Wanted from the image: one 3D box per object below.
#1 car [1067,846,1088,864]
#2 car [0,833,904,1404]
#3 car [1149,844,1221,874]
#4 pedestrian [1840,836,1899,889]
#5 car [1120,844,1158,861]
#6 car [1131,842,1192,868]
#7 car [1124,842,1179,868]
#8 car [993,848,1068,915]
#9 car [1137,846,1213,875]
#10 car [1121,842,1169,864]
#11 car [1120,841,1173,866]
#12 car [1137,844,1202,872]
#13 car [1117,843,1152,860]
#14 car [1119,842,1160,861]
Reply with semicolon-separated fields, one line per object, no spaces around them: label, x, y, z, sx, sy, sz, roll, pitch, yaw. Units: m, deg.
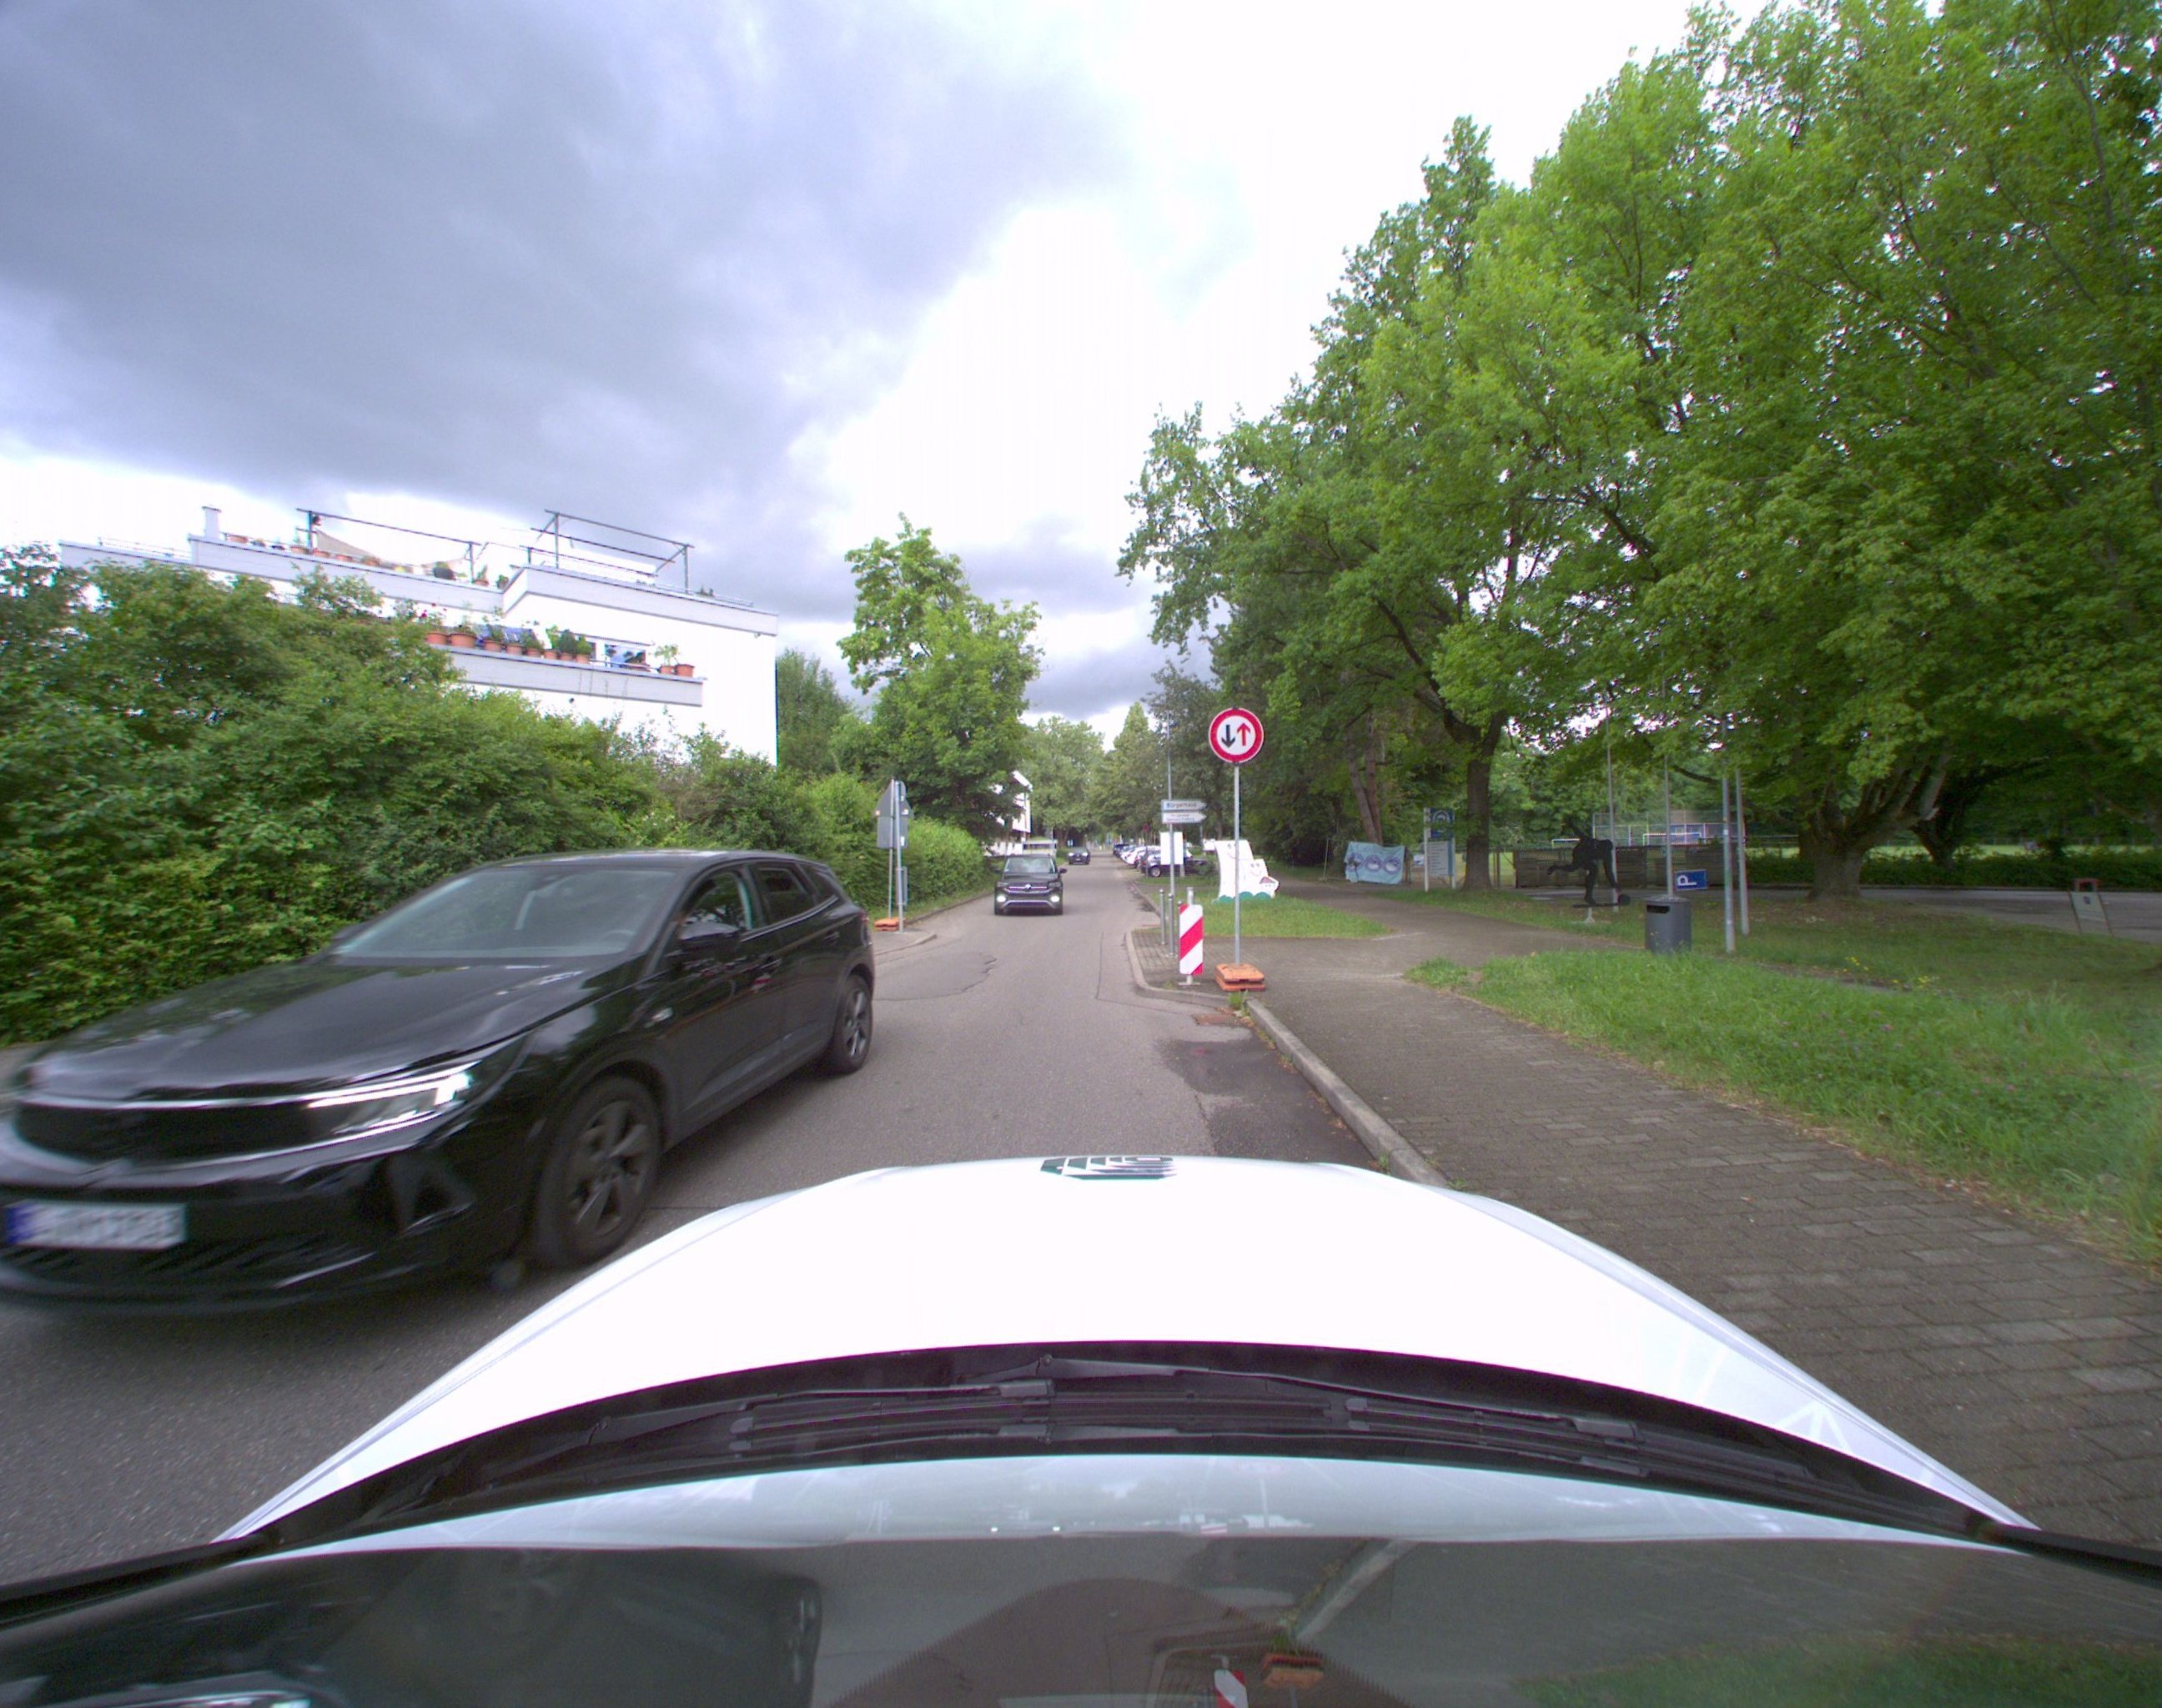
car;-0.323;0.120;81.881;1.962;1.747;4.338;-1;0;1
car;-2.567;0.740;4.492;1.794;1.591;4.303;-1;0;6
car;6.161;0.339;48.706;4.049;1.568;1.822;-3;-1;0
pedestrian;26.015;0.296;26.893;1.137;1.674;0.798;-3;-2;27
car;6.640;-0.173;93.020;4.053;1.687;1.821;-5;0;-2
car;5.761;0.076;58.630;4.053;1.488;1.821;-5;0;-2
car;5.505;0.086;63.850;4.053;1.687;1.821;-5;0;-2
car;-1.318;0.657;21.812;1.799;1.591;4.291;-1;0;-3
car;5.275;0.392;46.159;4.049;1.434;2.000;-3;-1;0
car;5.808;-0.087;74.323;4.053;1.687;1.821;-5;0;-2
car;5.429;-0.058;67.765;4.053;1.687;1.821;-5;0;-2
car;5.813;0.256;53.904;4.049;1.568;1.823;-3;0;0
car;6.459;-0.352;98.541;4.053;1.687;1.821;-5;0;-2
car;6.259;-0.283;87.444;4.053;1.687;1.821;-5;0;-2
